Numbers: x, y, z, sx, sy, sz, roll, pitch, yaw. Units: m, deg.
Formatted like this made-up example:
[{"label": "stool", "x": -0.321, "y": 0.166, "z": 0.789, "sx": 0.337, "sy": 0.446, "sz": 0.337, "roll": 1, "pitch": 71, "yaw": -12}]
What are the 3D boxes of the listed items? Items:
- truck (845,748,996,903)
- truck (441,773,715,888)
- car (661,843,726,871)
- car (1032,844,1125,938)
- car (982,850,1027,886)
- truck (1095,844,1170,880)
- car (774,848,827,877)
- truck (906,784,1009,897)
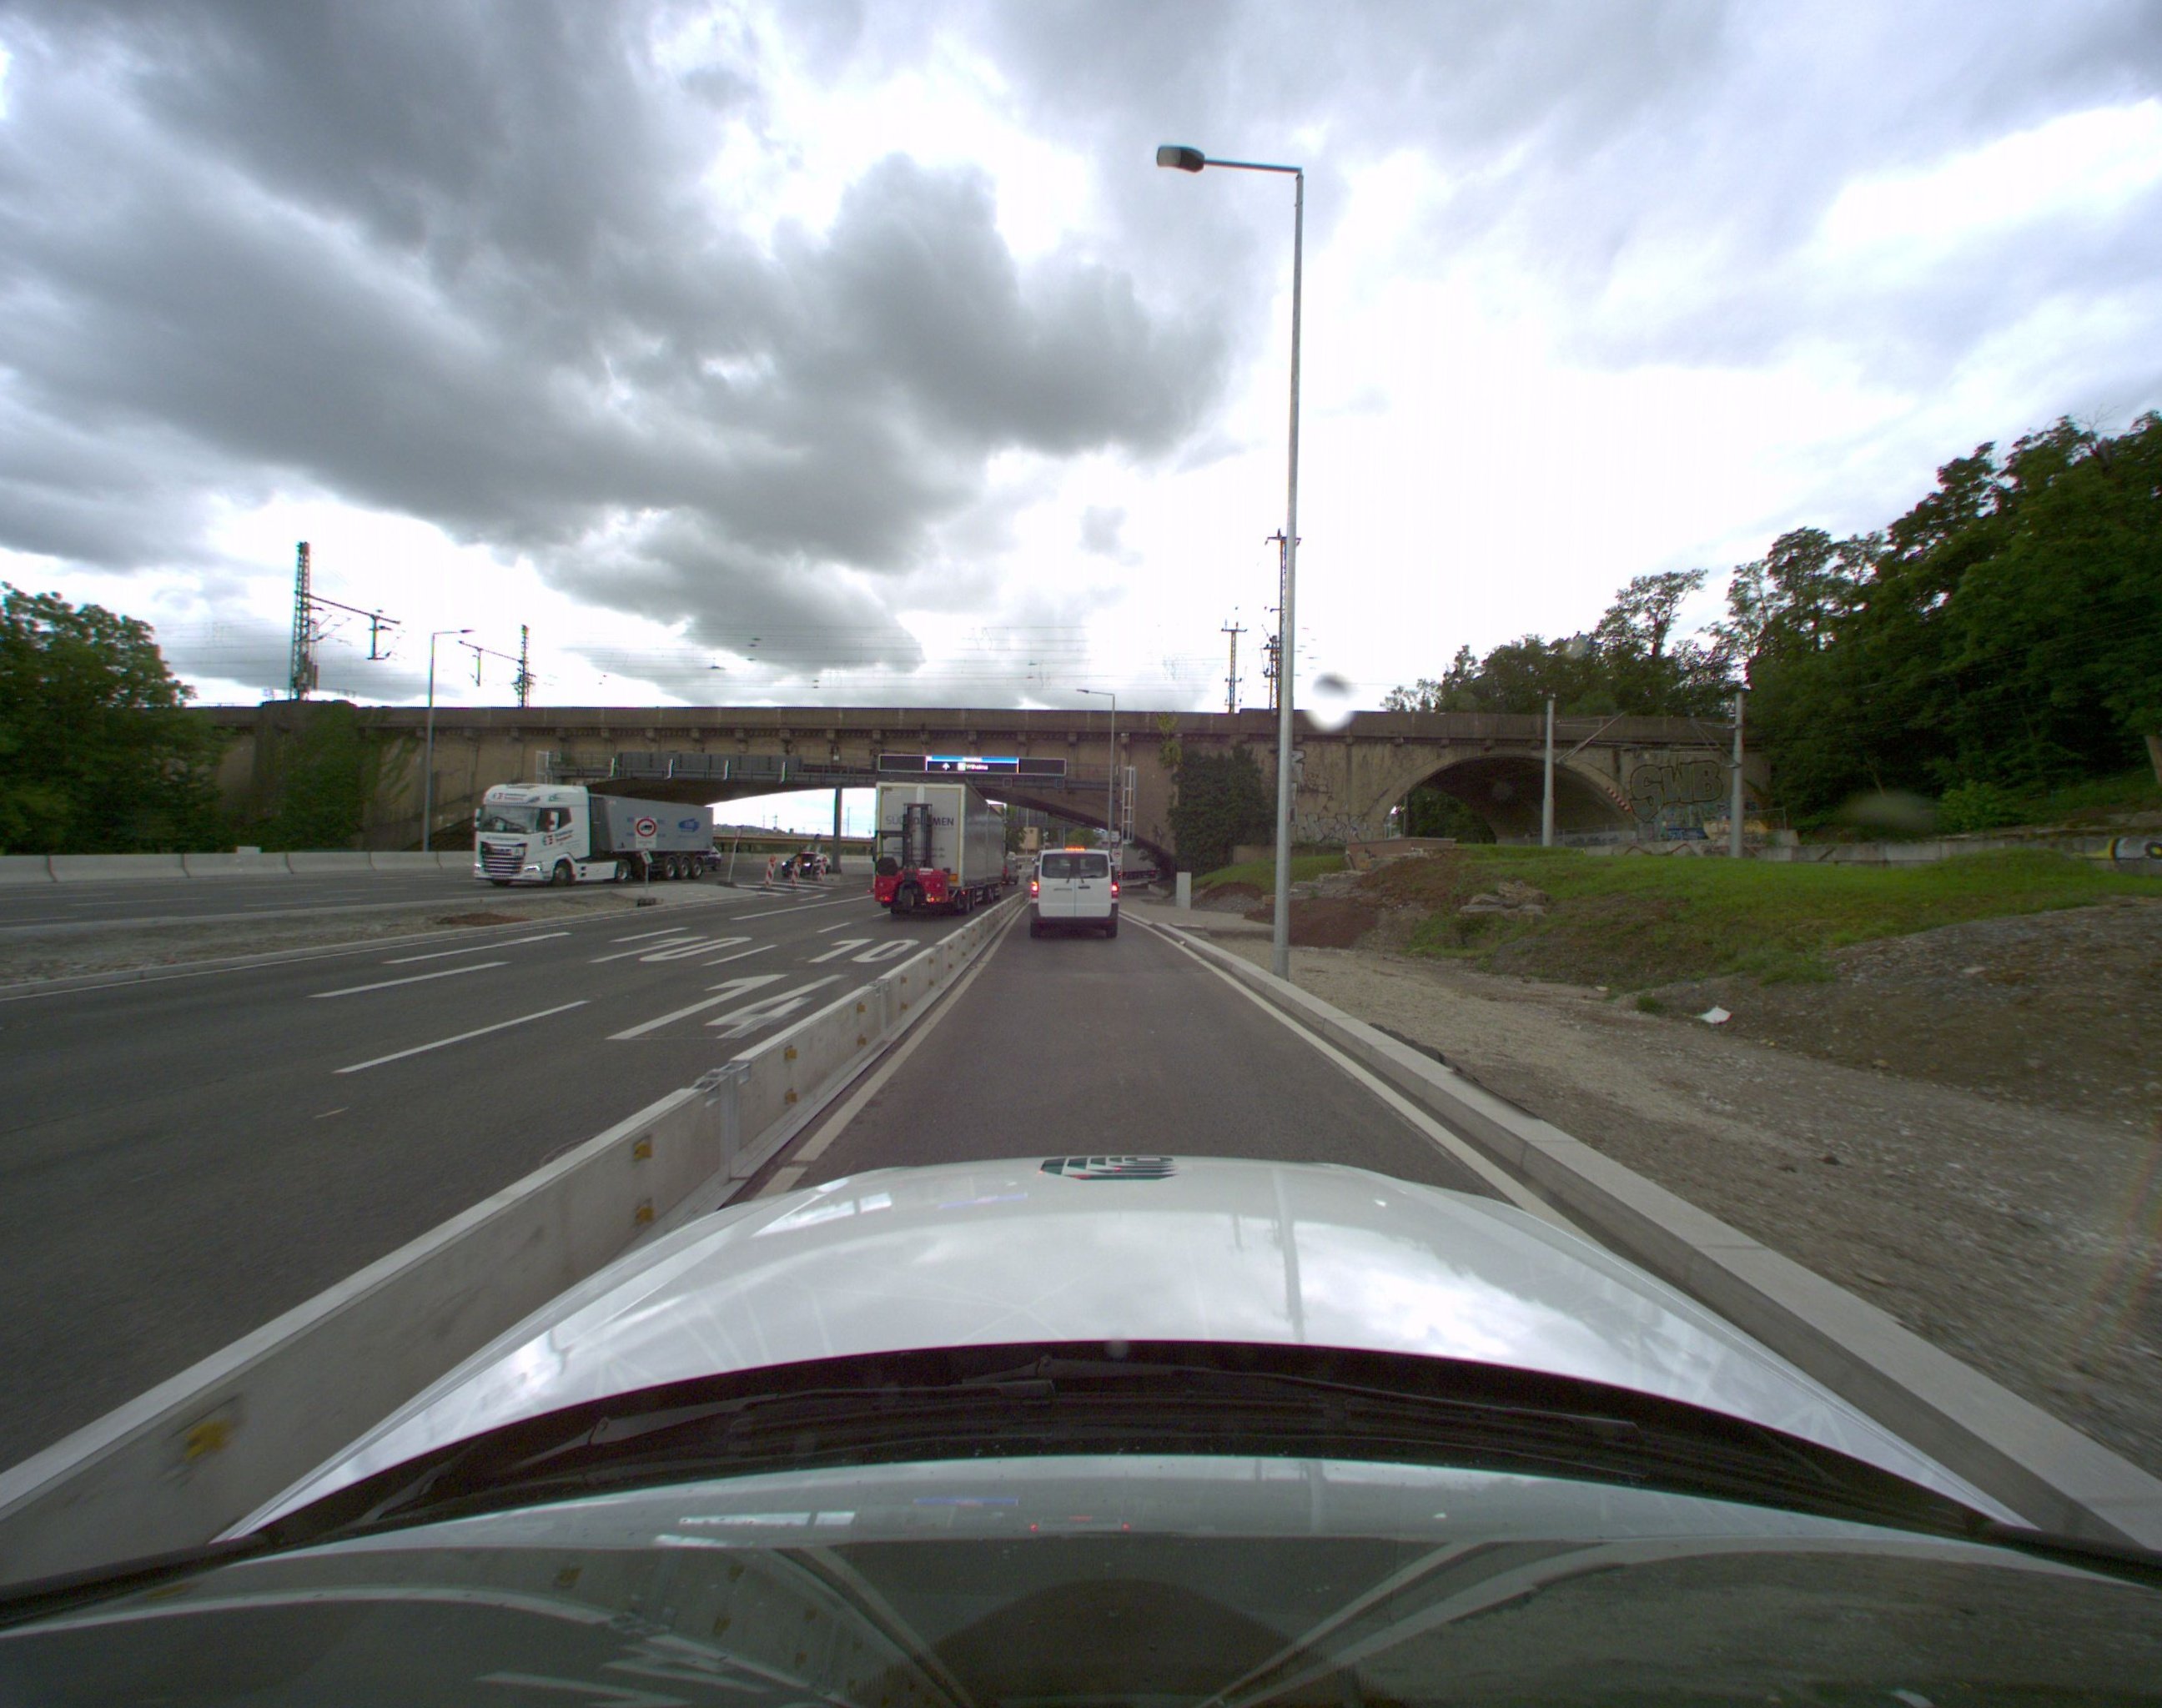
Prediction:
[{"label": "truck", "x": -4.813, "y": -0.629, "z": 26.798, "sx": 2.909, "sy": 4.017, "sz": 10.194, "roll": 2, "pitch": -2, "yaw": -1}, {"label": "truck", "x": -21.007, "y": -0.867, "z": 35.929, "sx": 2.888, "sy": 4.061, "sz": 13.996, "roll": 1, "pitch": 0, "yaw": 2}, {"label": "car", "x": -24.571, "y": 0.172, "z": 51.846, "sx": 1.879, "sy": 1.684, "sz": 4.490, "roll": -1, "pitch": 0, "yaw": 1}, {"label": "car", "x": -0.130, "y": 0.789, "z": 18.818, "sx": 1.871, "sy": 1.891, "sz": 4.748, "roll": 0, "pitch": -1, "yaw": -2}, {"label": "car", "x": -5.902, "y": 1.077, "z": 63.294, "sx": 1.981, "sy": 2.541, "sz": 5.188, "roll": 3, "pitch": 0, "yaw": 10}, {"label": "truck", "x": 6.375, "y": 1.008, "z": 95.853, "sx": 3.288, "sy": 3.809, "sz": 16.682, "roll": 3, "pitch": 0, "yaw": 23}, {"label": "car", "x": -17.106, "y": 0.494, "z": 49.888, "sx": 1.700, "sy": 1.620, "sz": 4.451, "roll": -2, "pitch": 0, "yaw": 0}, {"label": "truck", "x": -5.176, "y": -0.384, "z": 36.590, "sx": 2.979, "sy": 4.177, "sz": 11.232, "roll": 2, "pitch": -2, "yaw": -1}]
